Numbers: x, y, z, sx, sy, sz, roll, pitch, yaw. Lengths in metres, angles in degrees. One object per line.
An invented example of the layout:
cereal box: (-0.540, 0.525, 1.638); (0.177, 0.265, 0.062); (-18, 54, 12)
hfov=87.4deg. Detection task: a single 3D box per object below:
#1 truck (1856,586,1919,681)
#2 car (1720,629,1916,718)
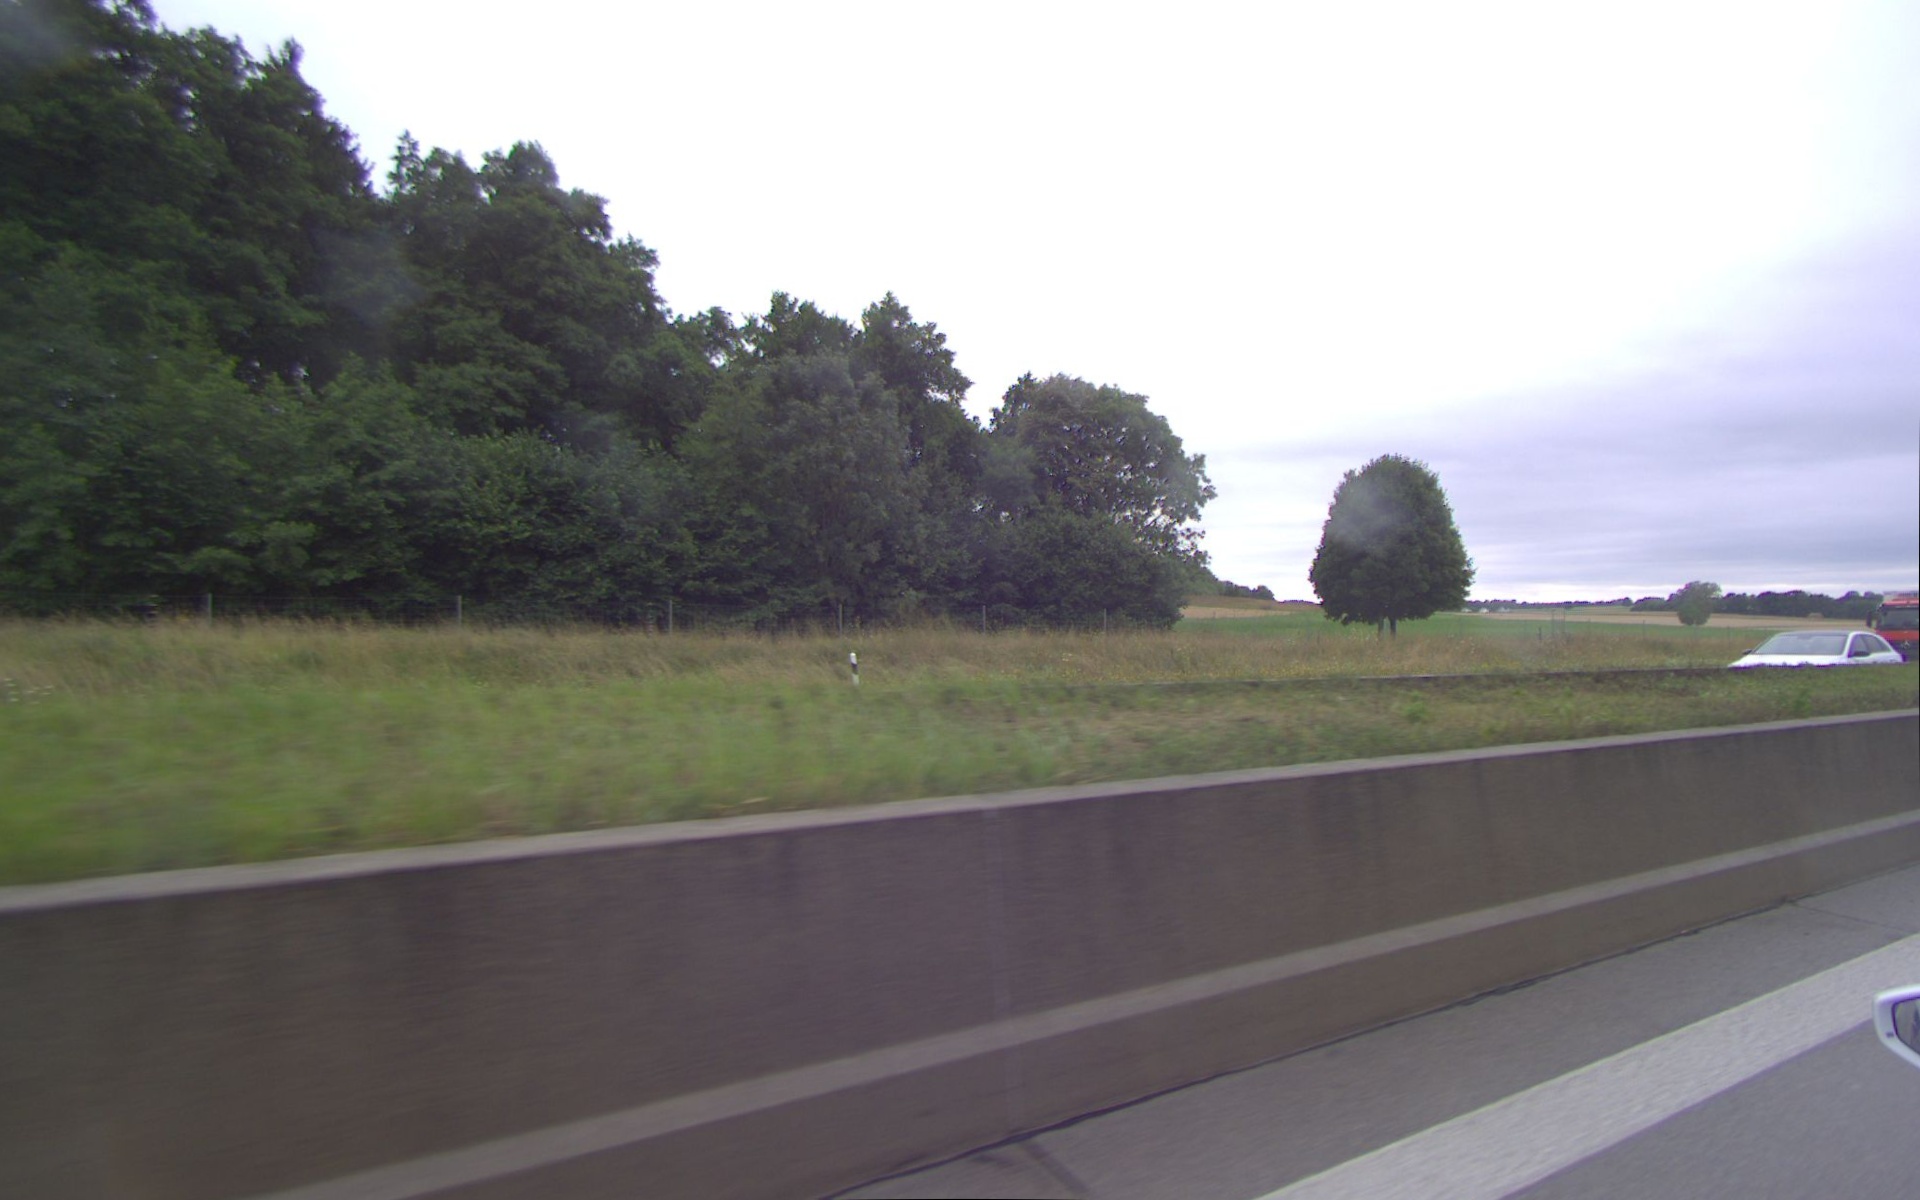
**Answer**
truck: (44.505, 1.424, 45.058); (12.305, 3.907, 2.889); (0, -1, -31)
car: (16.881, 1.367, 19.722); (4.403, 1.562, 1.643); (1, -1, -31)
